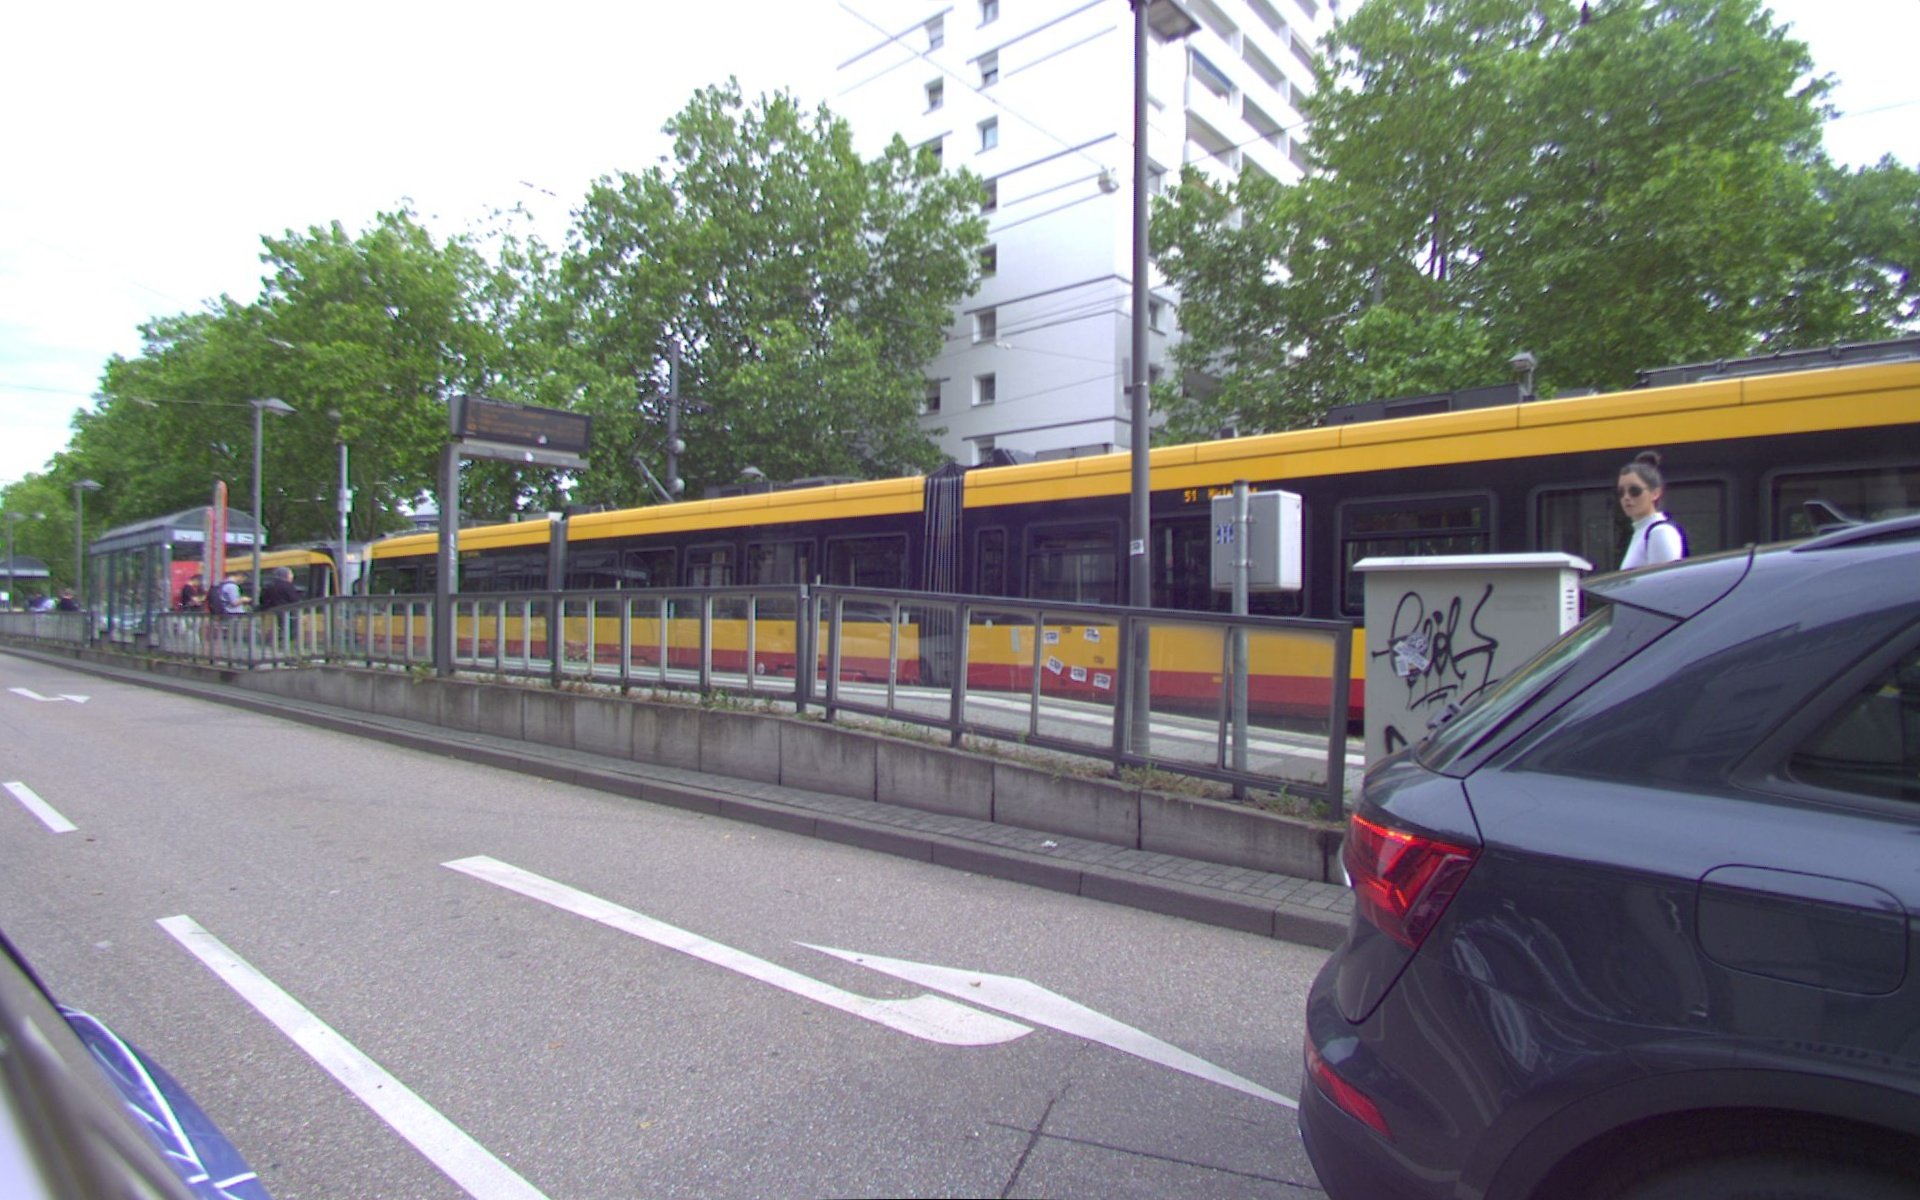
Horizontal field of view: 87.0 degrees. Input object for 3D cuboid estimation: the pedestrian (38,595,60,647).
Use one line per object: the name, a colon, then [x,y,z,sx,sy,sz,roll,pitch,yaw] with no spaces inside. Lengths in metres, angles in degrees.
pedestrian: [-28.969,0.652,32.174,0.392,1.645,0.474,-1,0,42]

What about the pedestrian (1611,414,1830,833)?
pedestrian: [3.436,0.091,4.570,0.730,1.674,0.746,-1,0,41]

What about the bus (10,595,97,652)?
bus: [-34.313,0.857,38.271,3.998,2.029,1.973,0,0,41]

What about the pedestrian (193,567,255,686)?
pedestrian: [-12.920,0.456,17.790,0.742,2.029,0.821,-1,0,-26]

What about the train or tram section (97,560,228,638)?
train or tram section: [-40.818,-0.030,51.535,12.534,3.588,3.060,0,0,41]

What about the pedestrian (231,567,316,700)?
pedestrian: [-10.768,0.511,15.903,0.808,2.029,0.754,-1,0,4]

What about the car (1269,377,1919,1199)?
car: [2.772,0.536,1.004,4.354,1.613,1.861,0,0,40]

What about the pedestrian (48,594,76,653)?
pedestrian: [-25.503,0.660,28.748,0.730,1.645,0.506,-1,0,42]

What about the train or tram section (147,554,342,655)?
train or tram section: [-30.209,0.188,42.160,15.764,3.558,3.028,0,0,41]

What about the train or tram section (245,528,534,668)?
train or tram section: [-18.548,-0.030,31.923,15.287,3.558,3.028,0,0,41]

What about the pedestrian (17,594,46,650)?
pedestrian: [-34.124,0.803,37.188,0.587,2.029,0.668,-1,0,38]

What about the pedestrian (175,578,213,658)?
pedestrian: [-15.983,0.373,21.116,0.471,1.645,0.526,-1,0,39]

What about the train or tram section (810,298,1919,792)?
train or tram section: [4.637,-0.392,11.539,15.841,3.615,3.028,0,0,41]

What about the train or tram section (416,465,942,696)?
train or tram section: [-7.059,-0.278,21.813,15.287,3.558,3.028,0,0,41]

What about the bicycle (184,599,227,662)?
bicycle: [-15.027,0.594,20.151,1.289,1.231,0.414,0,0,41]
